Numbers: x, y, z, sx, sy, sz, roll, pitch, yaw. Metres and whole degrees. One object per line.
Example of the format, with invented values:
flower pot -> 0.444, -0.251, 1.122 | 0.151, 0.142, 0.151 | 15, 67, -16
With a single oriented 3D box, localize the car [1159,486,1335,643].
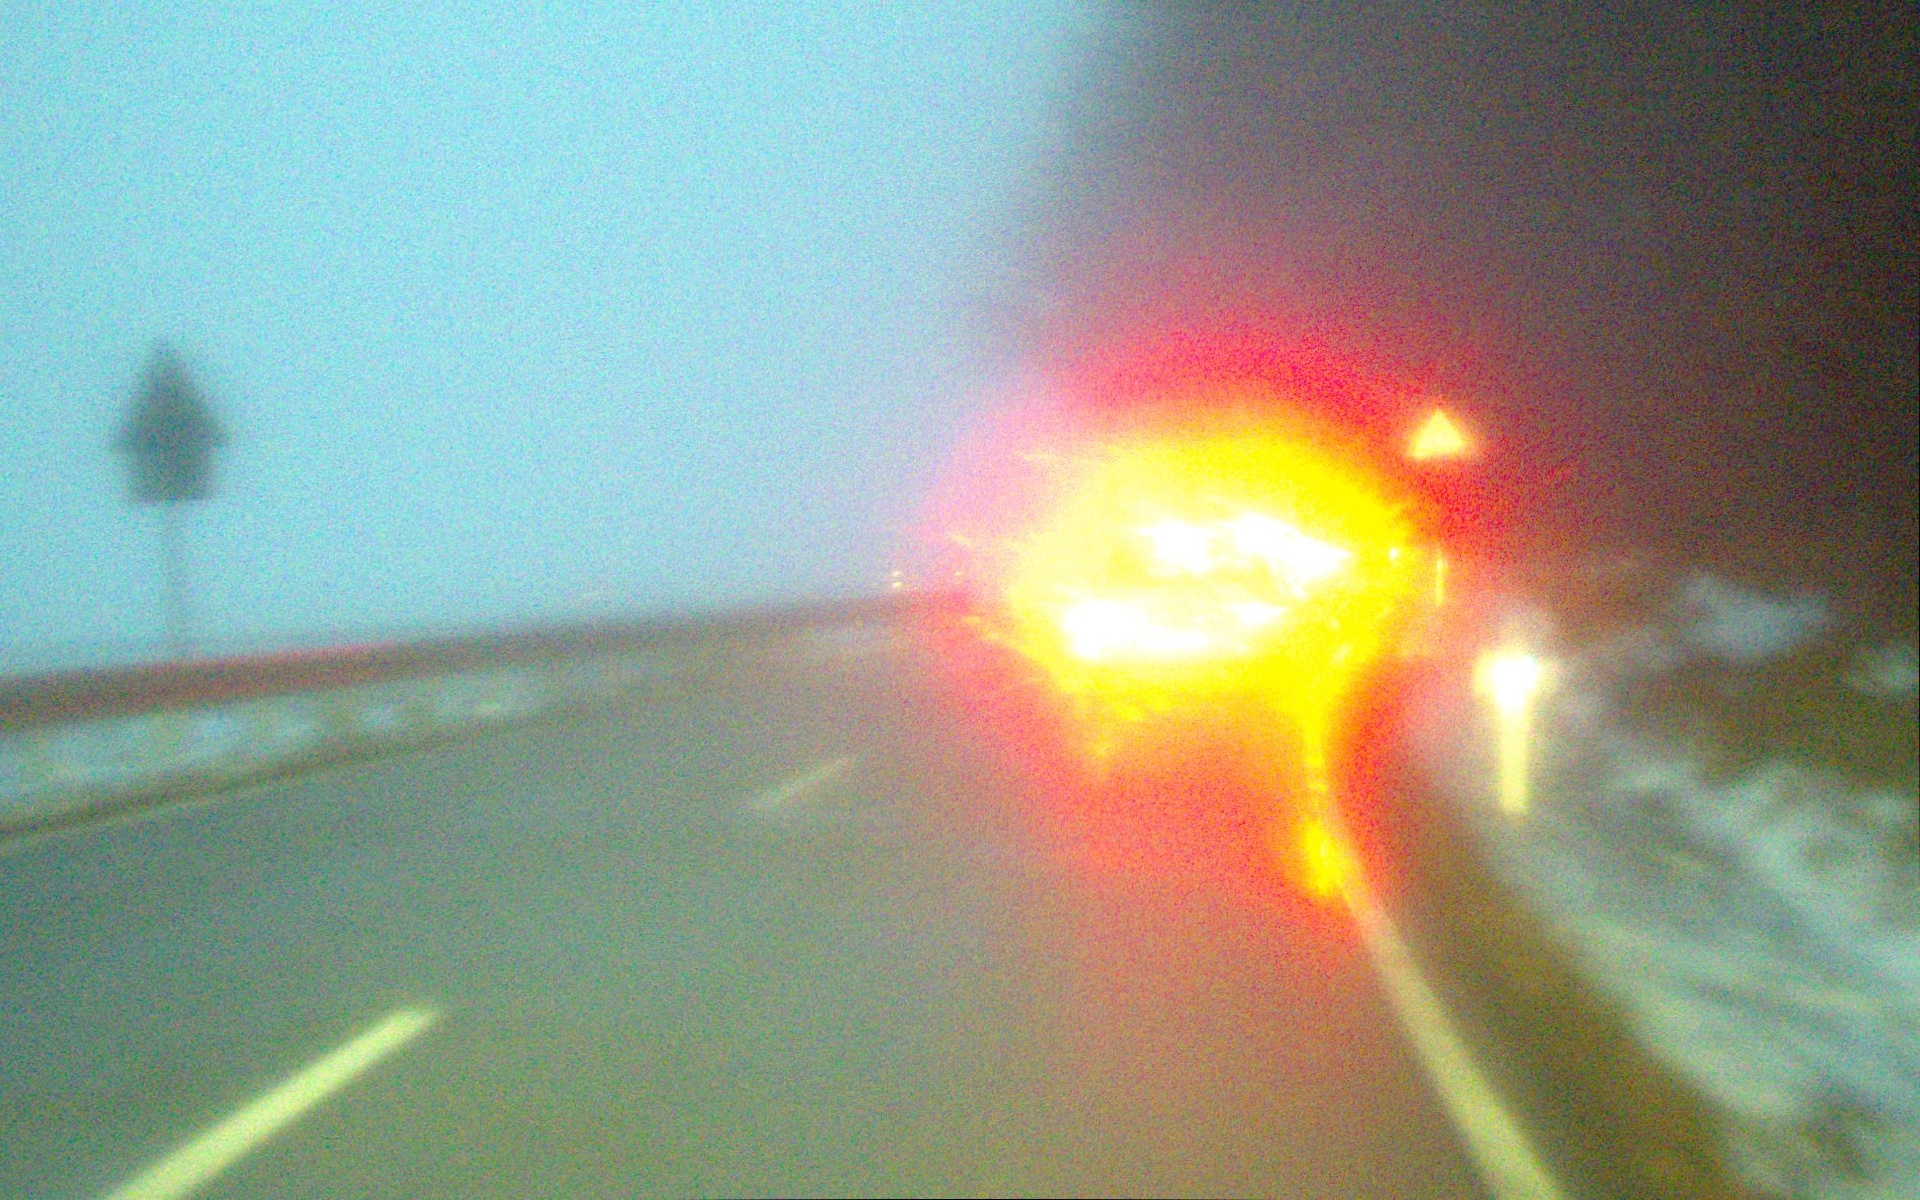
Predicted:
car -> 3.494, -0.453, 41.598 | 1.994, 1.777, 3.999 | -1, 1, 5

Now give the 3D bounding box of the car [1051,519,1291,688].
car -> 1.920, 0.003, 30.215 | 1.946, 1.376, 3.999 | 0, 1, 6
